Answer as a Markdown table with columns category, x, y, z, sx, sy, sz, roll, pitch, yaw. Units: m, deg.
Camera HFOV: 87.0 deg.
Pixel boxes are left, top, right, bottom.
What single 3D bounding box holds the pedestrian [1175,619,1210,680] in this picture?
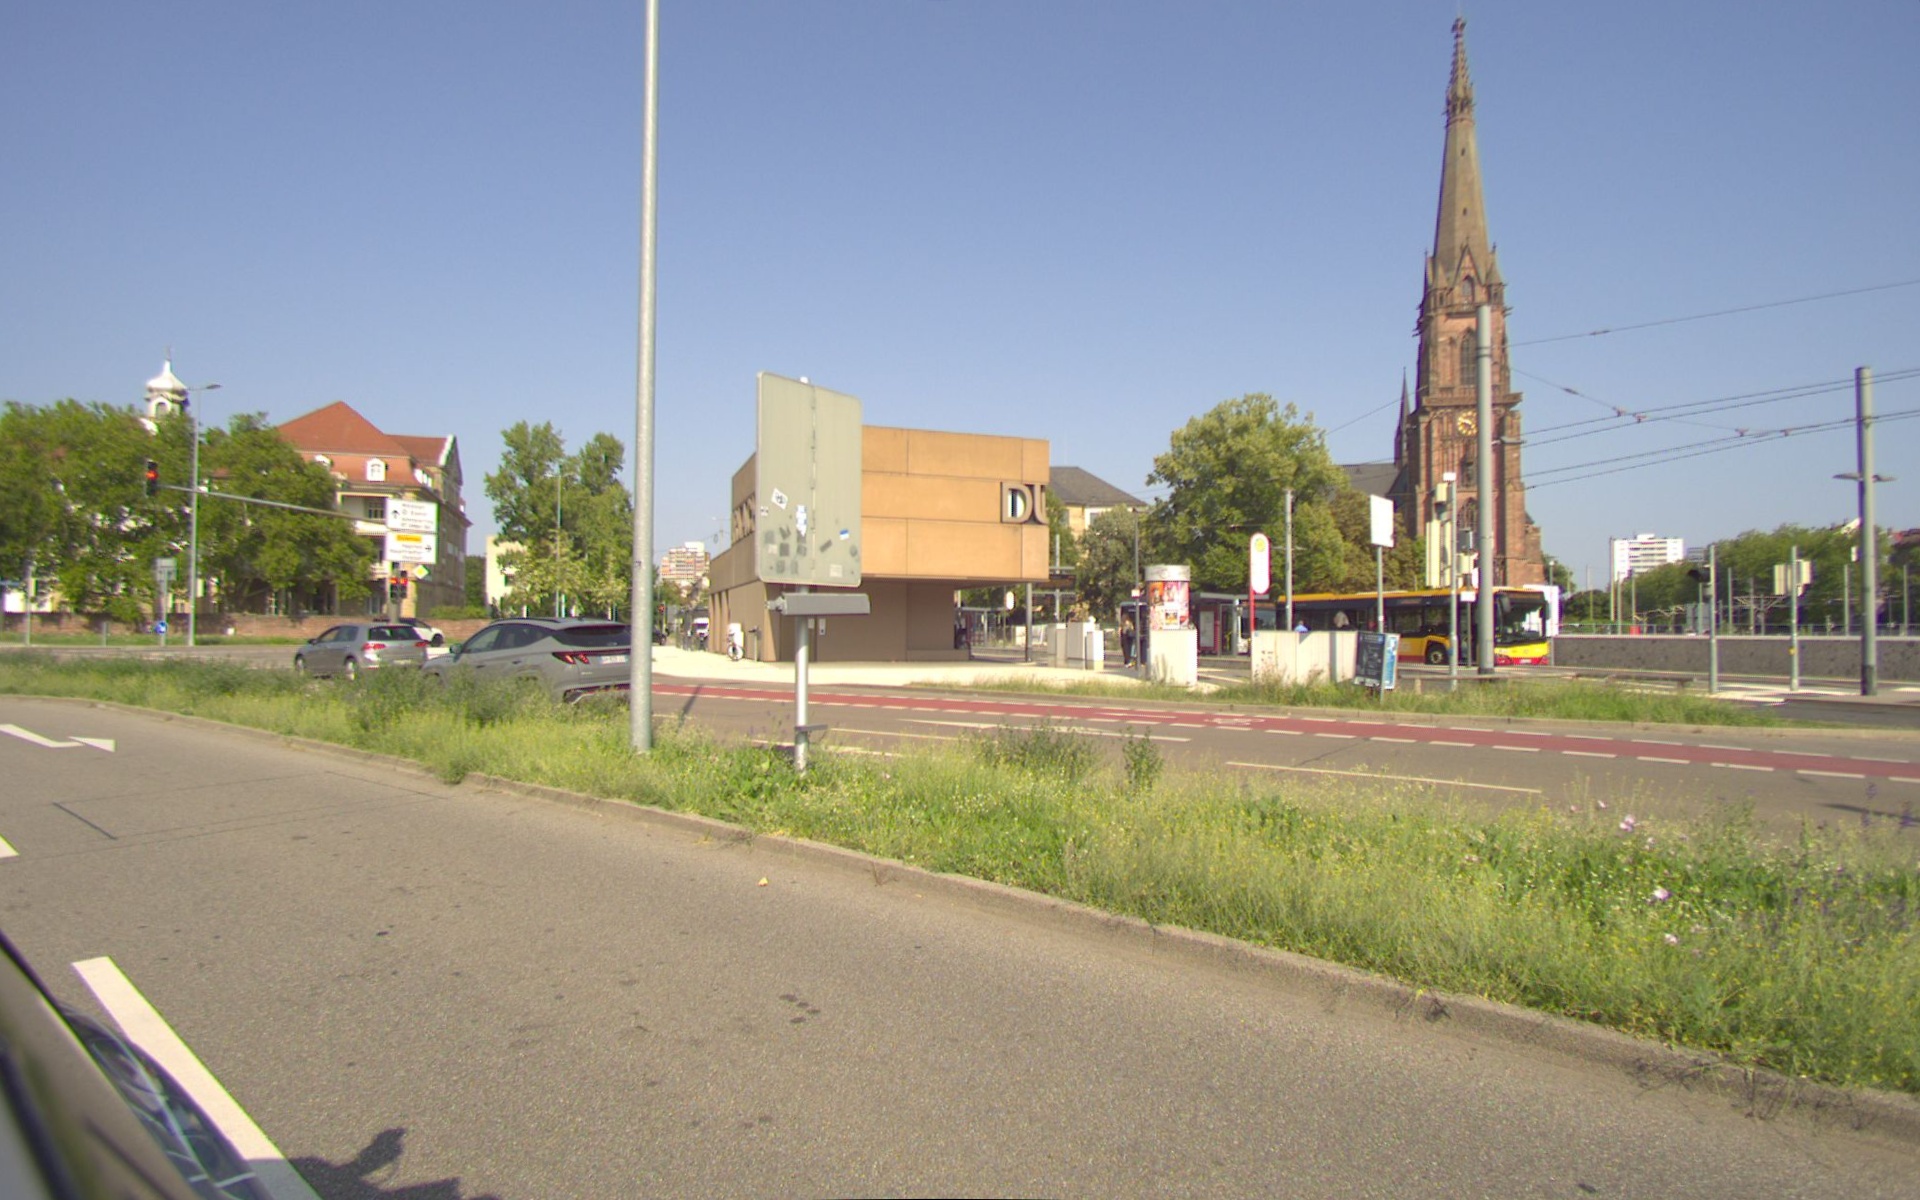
| category | x | y | z | sx | sy | sz | roll | pitch | yaw |
| --- | --- | --- | --- | --- | --- | --- | --- | --- | --- |
| pedestrian | 7.049 | 1.494 | 30.671 | 0.689 | 1.814 | 0.782 | 1 | -2 | -22 |

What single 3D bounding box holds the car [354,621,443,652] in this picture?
| category | x | y | z | sx | sy | sz | roll | pitch | yaw |
| --- | --- | --- | --- | --- | --- | --- | --- | --- | --- |
| car | -31.270 | 2.046 | 56.537 | 1.980 | 1.646 | 4.354 | 0 | -2 | 13 |

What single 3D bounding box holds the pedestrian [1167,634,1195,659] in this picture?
| category | x | y | z | sx | sy | sz | roll | pitch | yaw |
| --- | --- | --- | --- | --- | --- | --- | --- | --- | --- |
| pedestrian | 10.236 | 2.149 | 46.851 | 1.013 | 1.142 | 0.740 | 1 | -2 | -28 |

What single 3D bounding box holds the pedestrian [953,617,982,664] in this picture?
| category | x | y | z | sx | sy | sz | roll | pitch | yaw |
| --- | --- | --- | --- | --- | --- | --- | --- | --- | --- |
| pedestrian | 0.264 | 1.506 | 37.626 | 0.851 | 1.718 | 0.734 | 1 | -2 | -23 |

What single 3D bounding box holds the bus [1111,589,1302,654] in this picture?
| category | x | y | z | sx | sy | sz | roll | pitch | yaw |
| --- | --- | --- | --- | --- | --- | --- | --- | --- | --- |
| bus | 12.450 | 1.202 | 53.268 | 3.242 | 3.000 | 12.836 | 1 | -2 | -19 |

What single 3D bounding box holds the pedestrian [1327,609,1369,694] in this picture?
| category | x | y | z | sx | sy | sz | roll | pitch | yaw |
| --- | --- | --- | --- | --- | --- | --- | --- | --- | --- |
| pedestrian | 8.544 | 1.120 | 22.290 | 0.699 | 1.814 | 0.771 | -1 | -2 | 35 |

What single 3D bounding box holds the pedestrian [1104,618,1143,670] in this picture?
| category | x | y | z | sx | sy | sz | roll | pitch | yaw |
| --- | --- | --- | --- | --- | --- | --- | --- | --- | --- |
| pedestrian | 5.040 | 1.352 | 31.222 | 0.851 | 1.571 | 0.992 | 1 | -2 | -13 |

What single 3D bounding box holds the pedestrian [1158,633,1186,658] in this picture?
| category | x | y | z | sx | sy | sz | roll | pitch | yaw |
| --- | --- | --- | --- | --- | --- | --- | --- | --- | --- |
| pedestrian | 9.987 | 2.152 | 47.687 | 1.013 | 1.142 | 0.740 | 1 | -2 | -28 |

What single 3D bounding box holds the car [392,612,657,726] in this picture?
| category | x | y | z | sx | sy | sz | roll | pitch | yaw |
| --- | --- | --- | --- | --- | --- | --- | --- | --- | --- |
| car | -7.113 | 1.047 | 16.397 | 4.445 | 1.630 | 1.681 | -1 | -2 | 31 |

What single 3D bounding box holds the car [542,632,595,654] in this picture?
| category | x | y | z | sx | sy | sz | roll | pitch | yaw |
| --- | --- | --- | --- | --- | --- | --- | --- | --- | --- |
| car | -27.463 | 2.983 | 71.109 | 1.609 | 1.509 | 3.834 | 0 | -2 | 12 |

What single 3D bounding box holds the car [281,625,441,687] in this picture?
| category | x | y | z | sx | sy | sz | roll | pitch | yaw |
| --- | --- | --- | --- | --- | --- | --- | --- | --- | --- |
| car | -15.215 | 1.369 | 25.662 | 4.211 | 1.444 | 1.799 | -1 | -2 | 33 |

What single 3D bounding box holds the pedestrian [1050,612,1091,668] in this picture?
| category | x | y | z | sx | sy | sz | roll | pitch | yaw |
| --- | --- | --- | --- | --- | --- | --- | --- | --- | --- |
| pedestrian | 3.588 | 1.280 | 32.834 | 0.974 | 1.783 | 0.867 | 2 | -3 | -38 |

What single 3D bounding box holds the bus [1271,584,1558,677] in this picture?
| category | x | y | z | sx | sy | sz | roll | pitch | yaw |
| --- | --- | --- | --- | --- | --- | --- | --- | --- | --- |
| bus | 17.325 | 1.234 | 40.259 | 2.670 | 3.132 | 12.253 | 1 | -2 | -19 |

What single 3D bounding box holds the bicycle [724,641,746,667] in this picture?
| category | x | y | z | sx | sy | sz | roll | pitch | yaw |
| --- | --- | --- | --- | --- | --- | --- | --- | --- | --- |
| bicycle | -7.903 | 1.874 | 35.503 | 0.582 | 0.844 | 1.552 | -2 | -1 | -19 |

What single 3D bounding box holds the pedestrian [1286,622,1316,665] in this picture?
| category | x | y | z | sx | sy | sz | roll | pitch | yaw |
| --- | --- | --- | --- | --- | --- | --- | --- | --- | --- |
| pedestrian | 14.013 | 1.784 | 41.640 | 0.816 | 1.752 | 0.838 | 1 | -2 | -23 |

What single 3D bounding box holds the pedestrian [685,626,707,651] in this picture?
| category | x | y | z | sx | sy | sz | roll | pitch | yaw |
| --- | --- | --- | --- | --- | --- | --- | --- | --- | --- |
| pedestrian | -21.658 | 3.141 | 82.942 | 1.203 | 2.029 | 1.334 | -1 | -2 | 20 |

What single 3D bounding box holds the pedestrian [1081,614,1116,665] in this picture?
| category | x | y | z | sx | sy | sz | roll | pitch | yaw |
| --- | --- | --- | --- | --- | --- | --- | --- | --- | --- |
| pedestrian | 4.632 | 1.315 | 33.796 | 0.862 | 1.685 | 0.980 | -1 | -2 | 30 |

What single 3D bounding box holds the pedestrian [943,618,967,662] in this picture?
| category | x | y | z | sx | sy | sz | roll | pitch | yaw |
| --- | --- | --- | --- | --- | --- | --- | --- | --- | --- |
| pedestrian | -0.200 | 1.616 | 40.865 | 0.707 | 1.751 | 0.859 | 1 | -2 | -21 |

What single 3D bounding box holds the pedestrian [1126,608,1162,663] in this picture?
| category | x | y | z | sx | sy | sz | roll | pitch | yaw |
| --- | --- | --- | --- | --- | --- | --- | --- | --- | --- |
| pedestrian | 5.871 | 1.137 | 32.208 | 0.862 | 1.718 | 0.980 | -1 | -2 | 30 |
